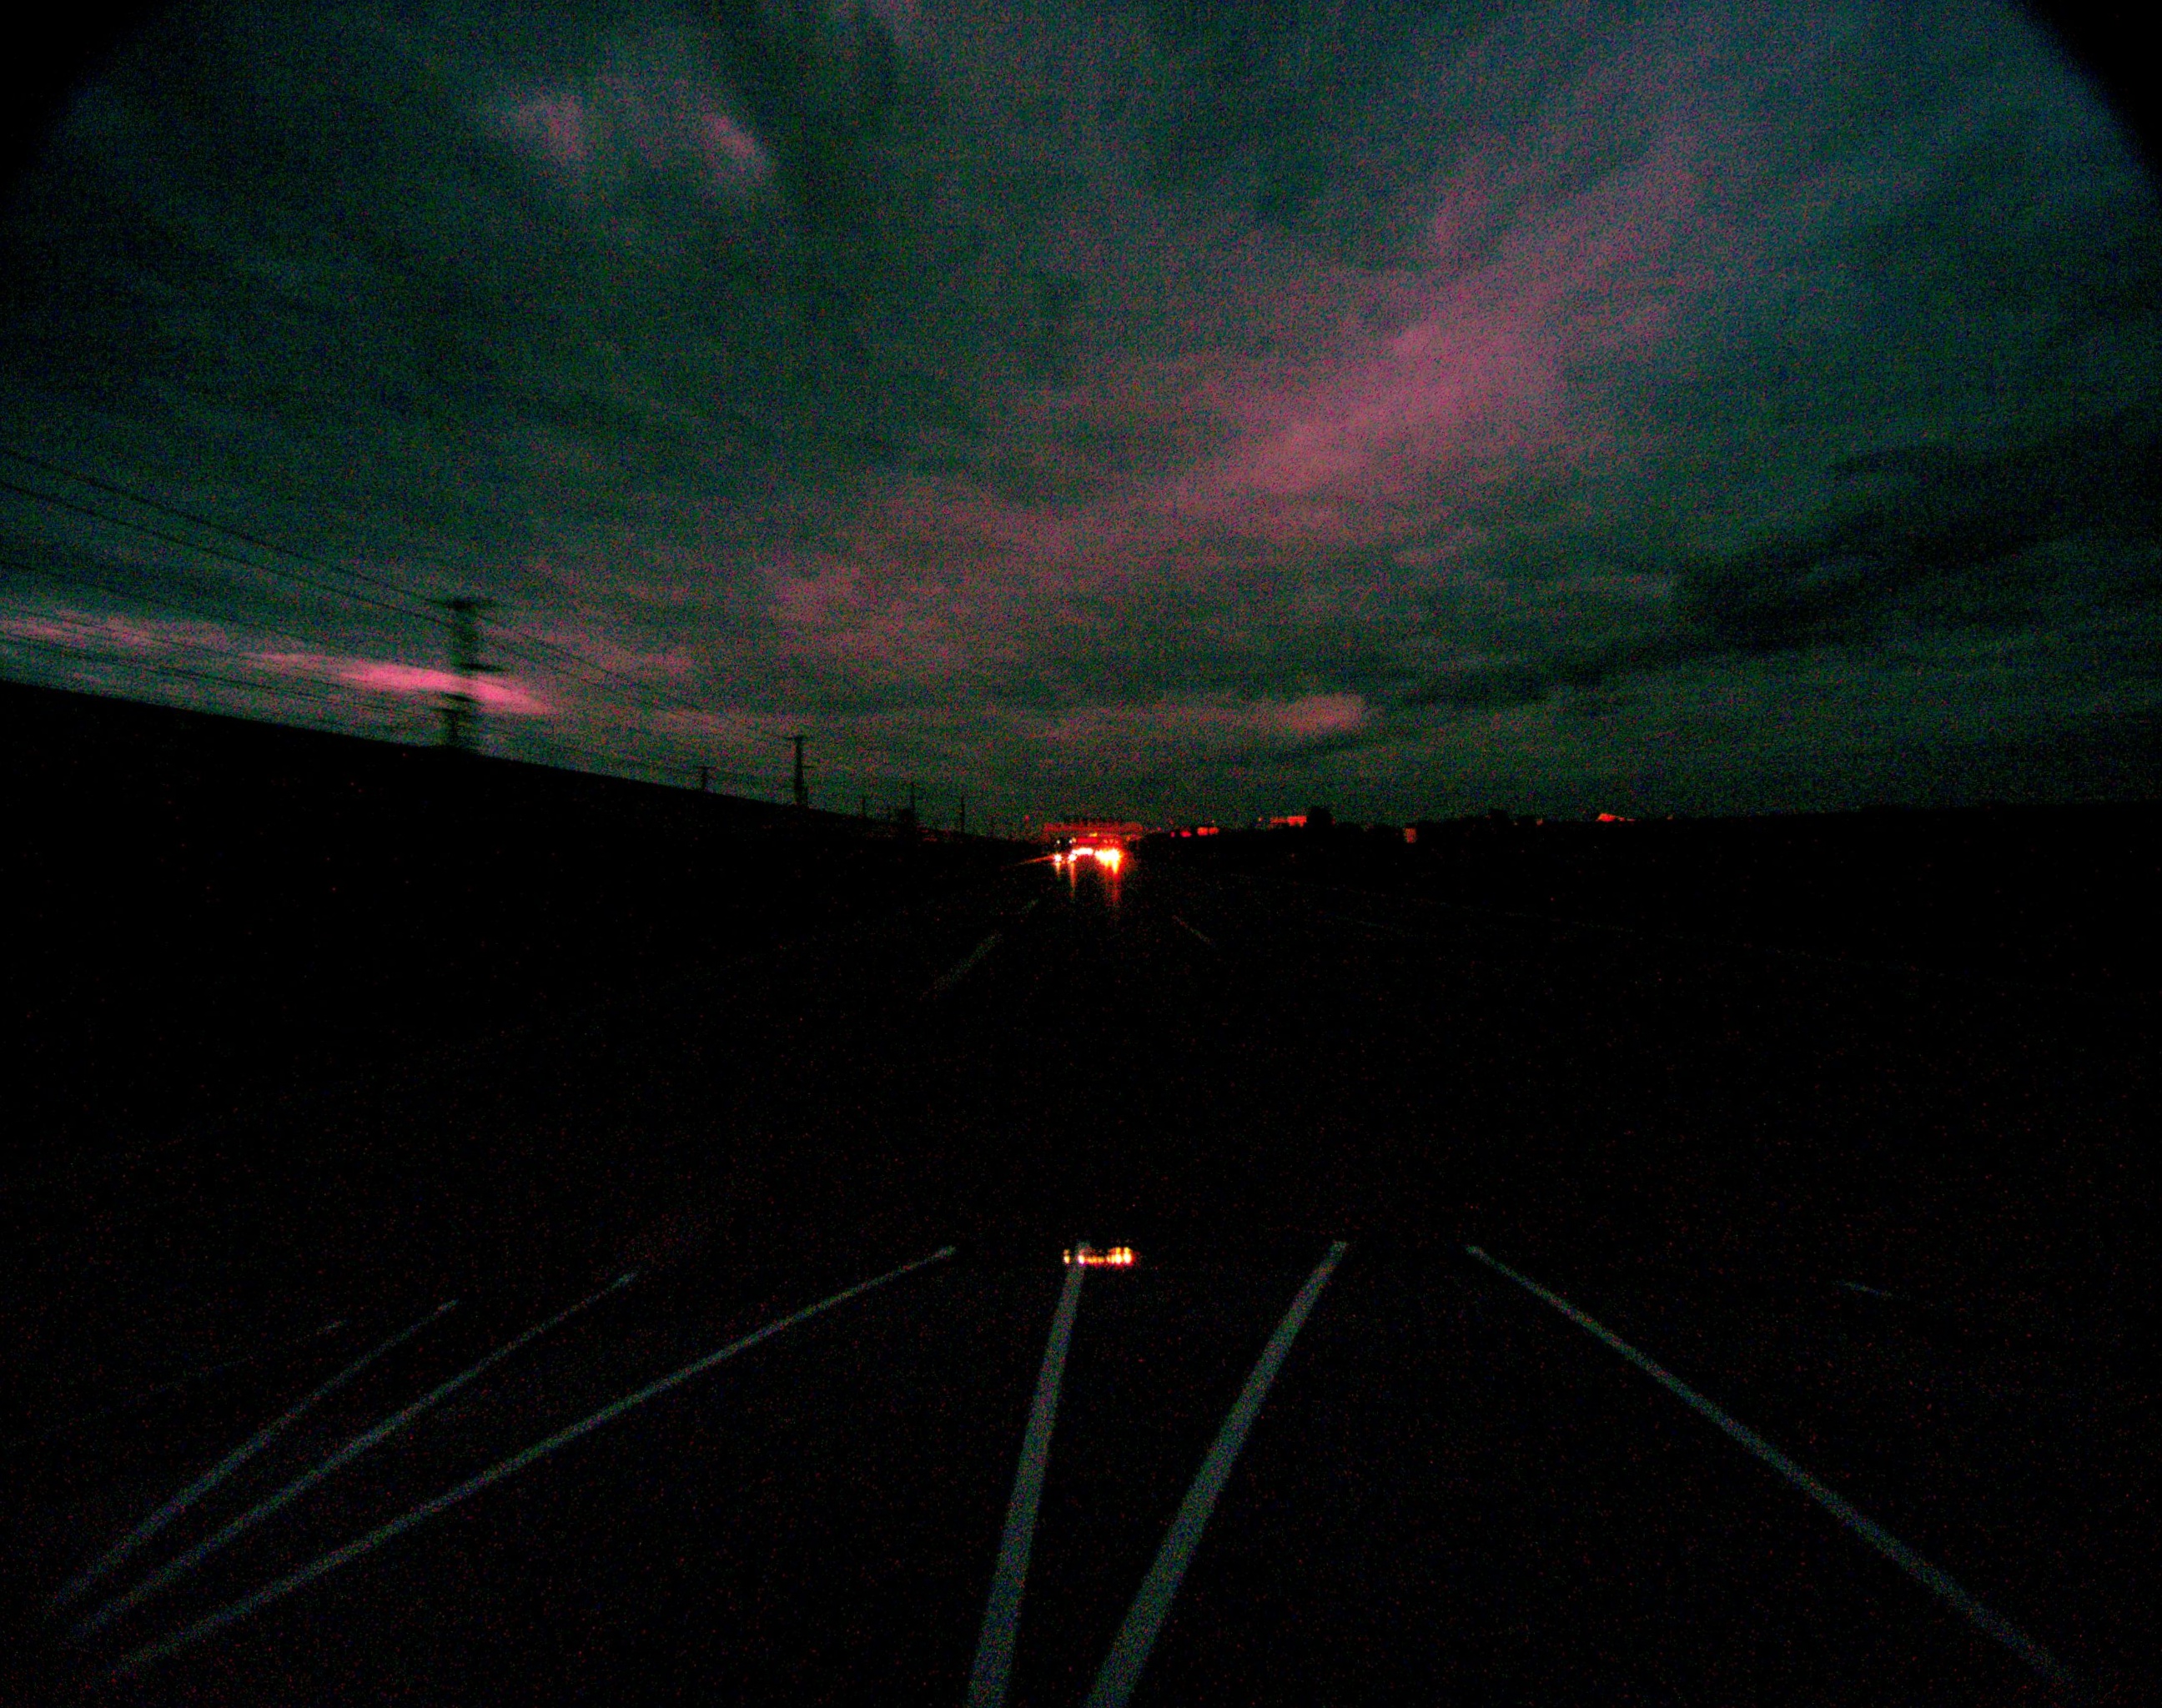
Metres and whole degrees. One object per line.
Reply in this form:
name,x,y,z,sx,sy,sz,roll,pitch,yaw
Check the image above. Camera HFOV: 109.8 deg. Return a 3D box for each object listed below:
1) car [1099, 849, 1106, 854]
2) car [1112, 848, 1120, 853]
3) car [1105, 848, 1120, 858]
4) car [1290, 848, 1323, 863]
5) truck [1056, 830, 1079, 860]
car,5.609,-0.634,198.475,1.998,1.342,4.175,-1,0,1
car,9.919,-0.893,215.813,1.999,1.342,4.174,-1,0,-1
car,4.736,-0.104,115.256,1.998,1.341,4.175,4,0,0
car,21.585,0.119,72.827,1.998,1.342,4.175,-1,0,1
truck,-1.988,-1.290,116.468,3.060,4.046,10.522,2,-1,0
